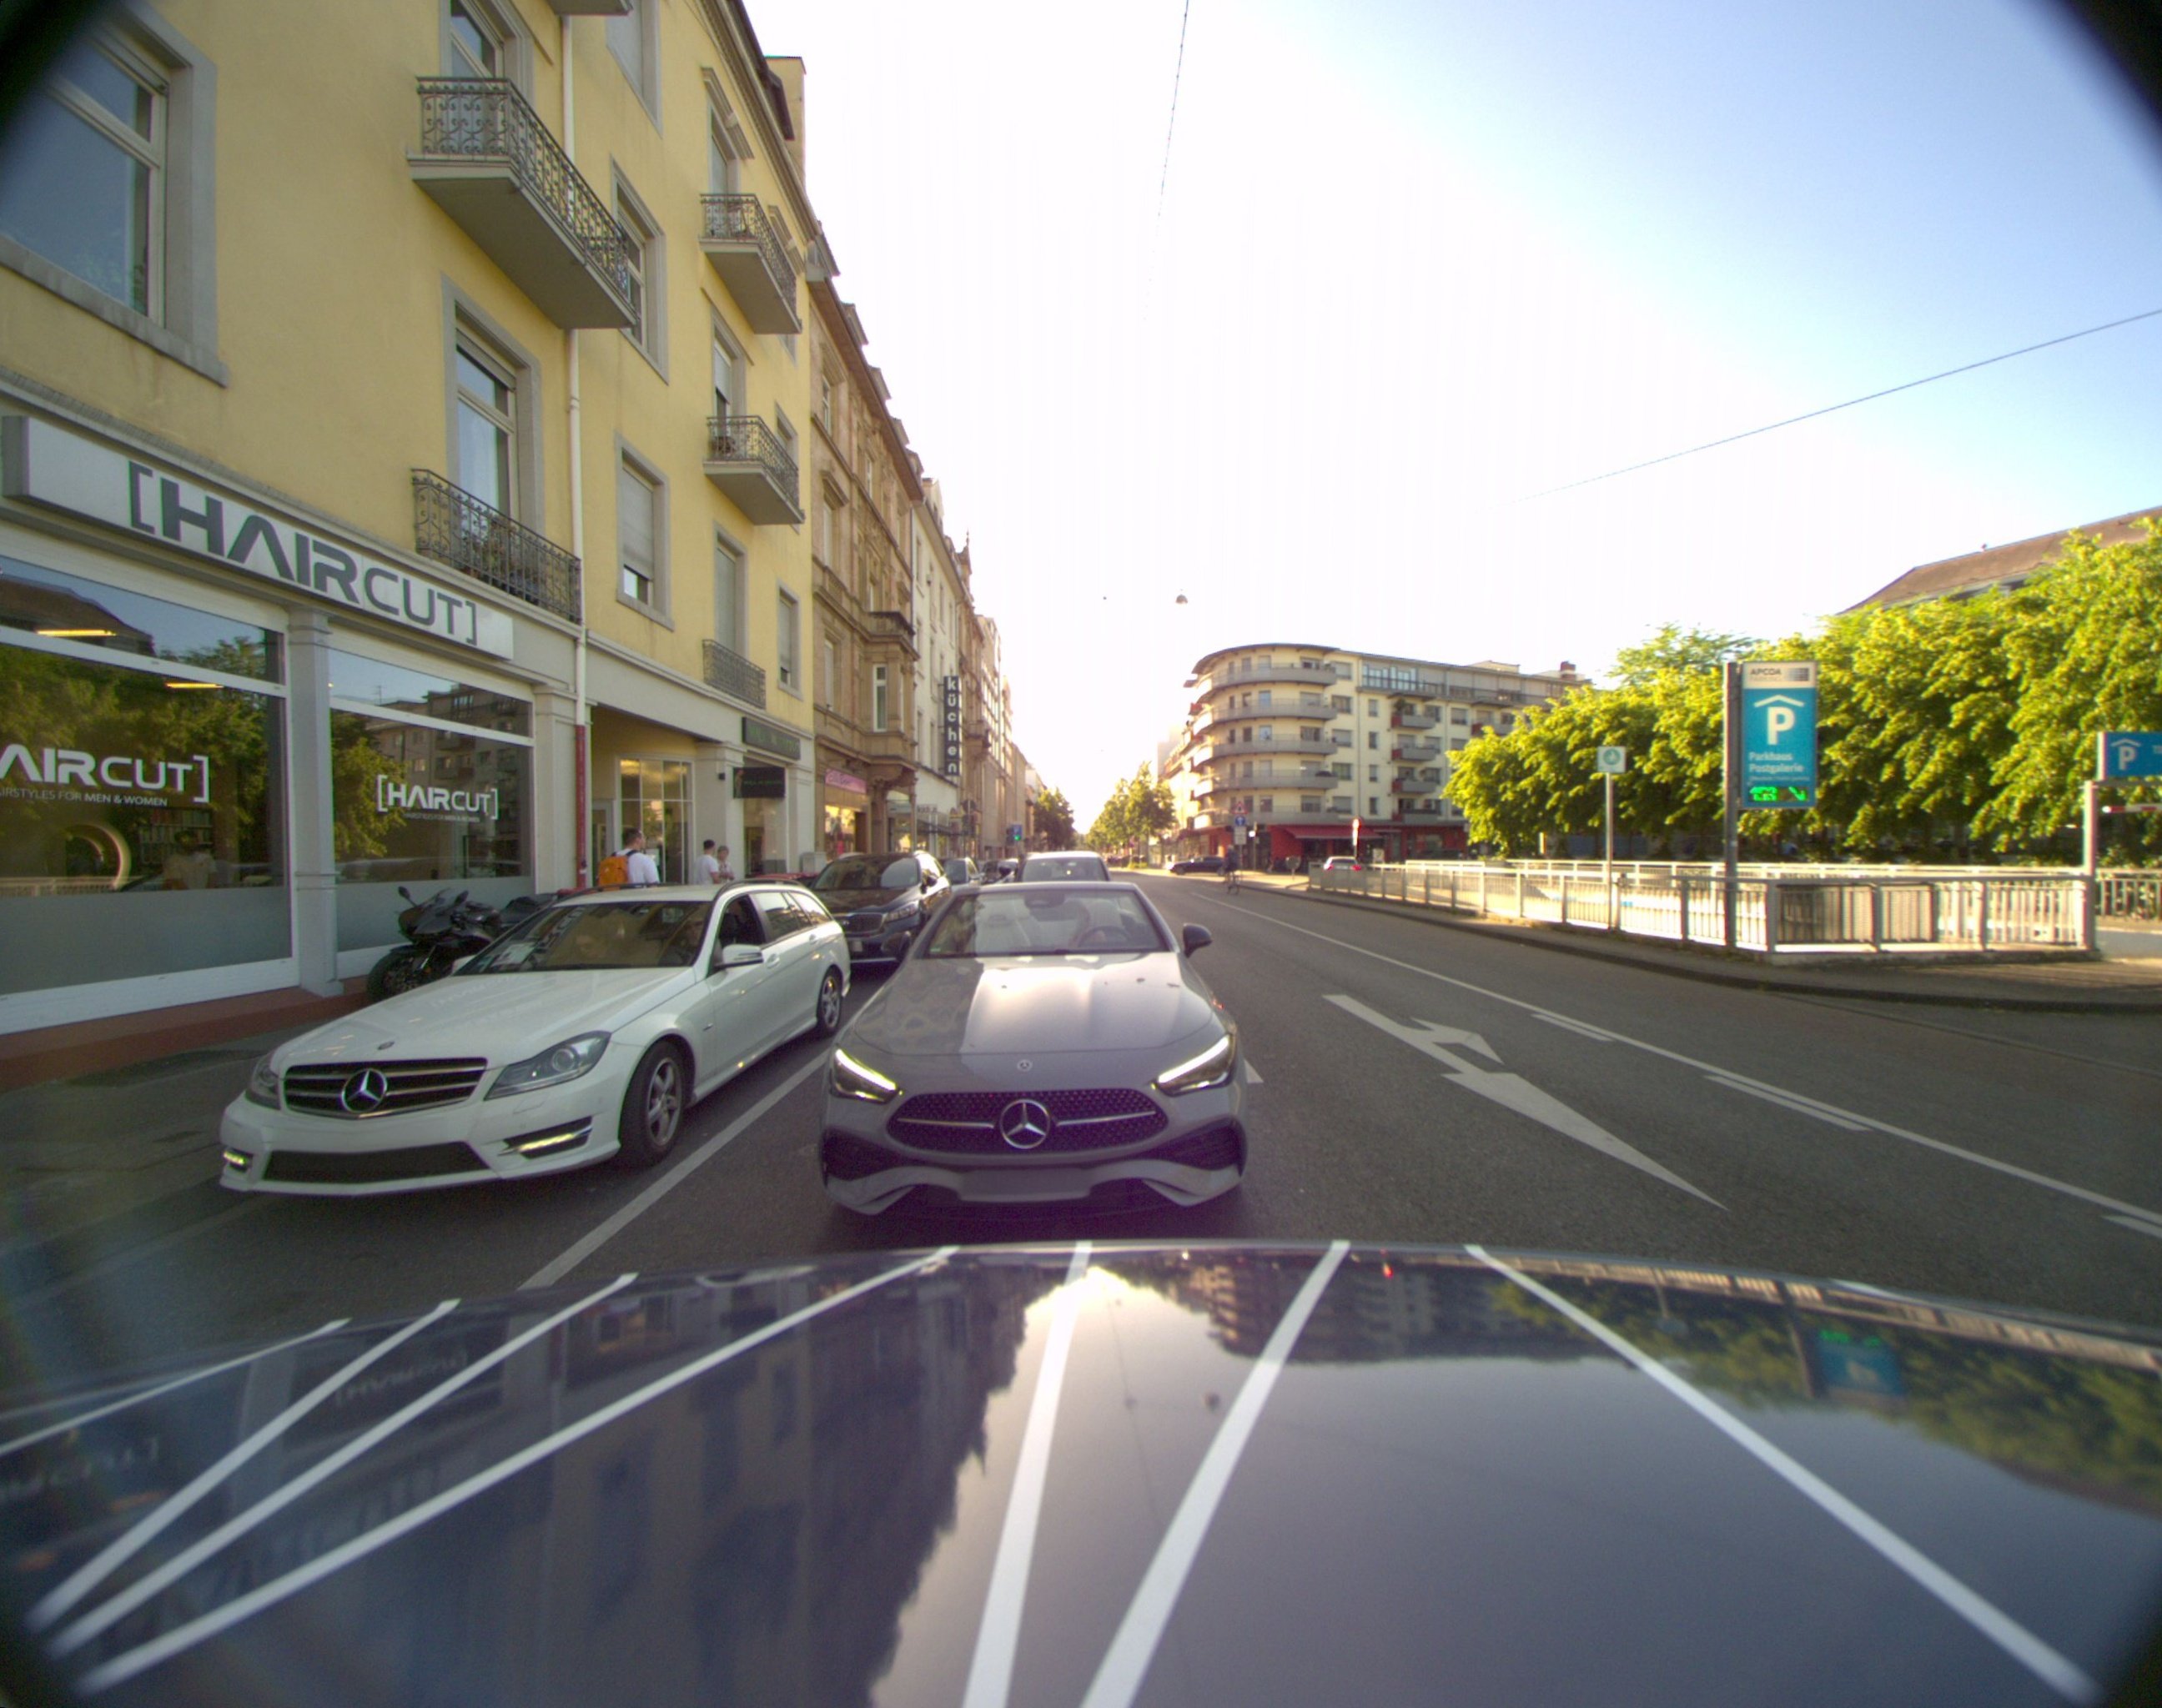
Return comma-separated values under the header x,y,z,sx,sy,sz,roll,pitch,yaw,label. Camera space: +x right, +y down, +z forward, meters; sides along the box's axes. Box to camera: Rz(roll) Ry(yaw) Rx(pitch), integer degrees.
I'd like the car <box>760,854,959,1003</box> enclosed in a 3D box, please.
x,y,z,sx,sy,sz,roll,pitch,yaw,label
-3.011,0.888,11.333,1.806,1.680,4.408,-2,1,-3,car

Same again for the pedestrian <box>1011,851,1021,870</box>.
x,y,z,sx,sy,sz,roll,pitch,yaw,label
-6.047,0.617,70.626,0.826,1.750,0.823,-2,1,-1,pedestrian

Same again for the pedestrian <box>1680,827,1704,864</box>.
x,y,z,sx,sy,sz,roll,pitch,yaw,label
31.654,-0.441,39.359,0.748,1.832,0.683,-3,1,-21,pedestrian

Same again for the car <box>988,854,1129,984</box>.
x,y,z,sx,sy,sz,roll,pitch,yaw,label
-0.363,0.892,12.753,1.866,1.658,4.706,-2,1,-2,car

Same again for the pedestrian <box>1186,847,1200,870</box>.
x,y,z,sx,sy,sz,roll,pitch,yaw,label
9.679,0.360,65.469,0.990,1.908,0.790,-2,1,-3,pedestrian

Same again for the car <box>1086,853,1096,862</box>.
x,y,z,sx,sy,sz,roll,pitch,yaw,label
2.136,0.655,156.040,1.836,1.831,3.886,1,1,-2,car

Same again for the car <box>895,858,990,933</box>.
x,y,z,sx,sy,sz,roll,pitch,yaw,label
-3.180,0.904,17.984,1.583,1.514,2.998,-2,1,1,car

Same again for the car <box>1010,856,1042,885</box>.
x,y,z,sx,sy,sz,roll,pitch,yaw,label
-2.941,0.863,40.945,1.461,1.391,3.362,-2,1,-1,car

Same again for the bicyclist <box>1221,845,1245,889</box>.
x,y,z,sx,sy,sz,roll,pitch,yaw,label
5.895,0.491,29.550,0.703,1.700,0.809,0,1,-5,bicyclist

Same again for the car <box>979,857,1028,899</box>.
x,y,z,sx,sy,sz,roll,pitch,yaw,label
-3.024,0.900,30.307,1.695,1.482,3.796,-2,1,-3,car

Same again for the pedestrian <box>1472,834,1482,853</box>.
x,y,z,sx,sy,sz,roll,pitch,yaw,label
38.025,-1.016,72.941,0.746,1.832,0.685,-2,1,18,pedestrian

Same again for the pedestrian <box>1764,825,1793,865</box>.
x,y,z,sx,sy,sz,roll,pitch,yaw,label
33.452,-0.432,36.433,0.748,1.832,0.683,-2,1,-13,pedestrian

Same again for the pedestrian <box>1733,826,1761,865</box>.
x,y,z,sx,sy,sz,roll,pitch,yaw,label
32.229,-0.398,36.758,0.748,1.852,0.683,-2,1,-13,pedestrian

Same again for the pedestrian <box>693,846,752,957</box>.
x,y,z,sx,sy,sz,roll,pitch,yaw,label
-6.147,0.793,13.055,0.630,1.826,0.770,-2,1,-7,pedestrian

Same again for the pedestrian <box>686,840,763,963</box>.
x,y,z,sx,sy,sz,roll,pitch,yaw,label
-5.671,0.728,12.100,0.975,1.866,0.534,-3,1,-31,pedestrian

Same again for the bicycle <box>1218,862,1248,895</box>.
x,y,z,sx,sy,sz,roll,pitch,yaw,label
5.898,0.934,29.546,0.618,1.156,1.956,1,1,-5,bicycle

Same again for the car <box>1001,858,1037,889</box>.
x,y,z,sx,sy,sz,roll,pitch,yaw,label
-2.953,0.897,36.676,1.461,1.310,3.362,-2,1,-1,car

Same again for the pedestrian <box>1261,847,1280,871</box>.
x,y,z,sx,sy,sz,roll,pitch,yaw,label
14.611,0.384,58.433,0.960,1.739,1.063,-1,2,44,pedestrian

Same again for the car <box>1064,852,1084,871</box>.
x,y,z,sx,sy,sz,roll,pitch,yaw,label
-0.664,0.646,69.410,1.695,1.635,3.599,-2,1,-1,car

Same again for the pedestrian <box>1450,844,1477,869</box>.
x,y,z,sx,sy,sz,roll,pitch,yaw,label
26.550,0.170,52.725,1.272,1.656,1.139,-2,1,-1,pedestrian

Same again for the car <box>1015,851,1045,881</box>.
x,y,z,sx,sy,sz,roll,pitch,yaw,label
-3.151,0.713,47.542,1.695,1.670,3.880,-2,1,-3,car

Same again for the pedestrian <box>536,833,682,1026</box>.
x,y,z,sx,sy,sz,roll,pitch,yaw,label
-4.697,0.703,7.629,0.810,1.812,0.982,1,1,4,pedestrian

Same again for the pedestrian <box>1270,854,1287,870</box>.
x,y,z,sx,sy,sz,roll,pitch,yaw,label
15.430,0.647,59.376,0.937,1.191,0.832,-3,1,-24,pedestrian

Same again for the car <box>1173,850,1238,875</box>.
x,y,z,sx,sy,sz,roll,pitch,yaw,label
8.638,0.568,52.454,4.242,1.521,1.678,-2,1,14,car

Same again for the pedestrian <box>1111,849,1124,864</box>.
x,y,z,sx,sy,sz,roll,pitch,yaw,label
4.612,0.315,95.301,1.219,1.826,1.205,-2,1,25,pedestrian

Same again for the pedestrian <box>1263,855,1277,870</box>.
x,y,z,sx,sy,sz,roll,pitch,yaw,label
14.923,0.659,60.034,0.780,1.191,0.884,-2,1,-10,pedestrian

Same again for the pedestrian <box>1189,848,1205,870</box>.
x,y,z,sx,sy,sz,roll,pitch,yaw,label
9.371,0.412,61.472,1.067,1.709,1.082,-2,1,19,pedestrian

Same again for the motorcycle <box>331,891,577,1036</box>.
x,y,z,sx,sy,sz,roll,pitch,yaw,label
-6.253,1.023,7.784,0.735,1.124,2.109,2,1,1,motorcycle

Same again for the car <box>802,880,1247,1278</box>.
x,y,z,sx,sy,sz,roll,pitch,yaw,label
-0.279,0.996,5.353,1.769,1.360,4.471,-2,1,-2,car

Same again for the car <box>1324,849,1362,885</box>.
x,y,z,sx,sy,sz,roll,pitch,yaw,label
12.640,0.585,36.648,1.635,1.521,3.913,-2,1,19,car

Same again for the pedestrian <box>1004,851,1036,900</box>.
x,y,z,sx,sy,sz,roll,pitch,yaw,label
-2.182,0.776,27.349,0.836,1.709,0.821,-2,1,19,pedestrian

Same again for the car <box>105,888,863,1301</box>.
x,y,z,sx,sy,sz,roll,pitch,yaw,label
-3.024,1.071,5.242,1.672,1.364,4.377,-2,1,1,car

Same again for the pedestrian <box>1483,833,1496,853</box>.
x,y,z,sx,sy,sz,roll,pitch,yaw,label
38.366,-1.011,71.352,0.747,1.832,0.684,-2,1,1,pedestrian

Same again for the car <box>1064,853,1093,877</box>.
x,y,z,sx,sy,sz,roll,pitch,yaw,label
-0.194,0.709,51.113,1.695,1.437,3.575,-2,1,-3,car
